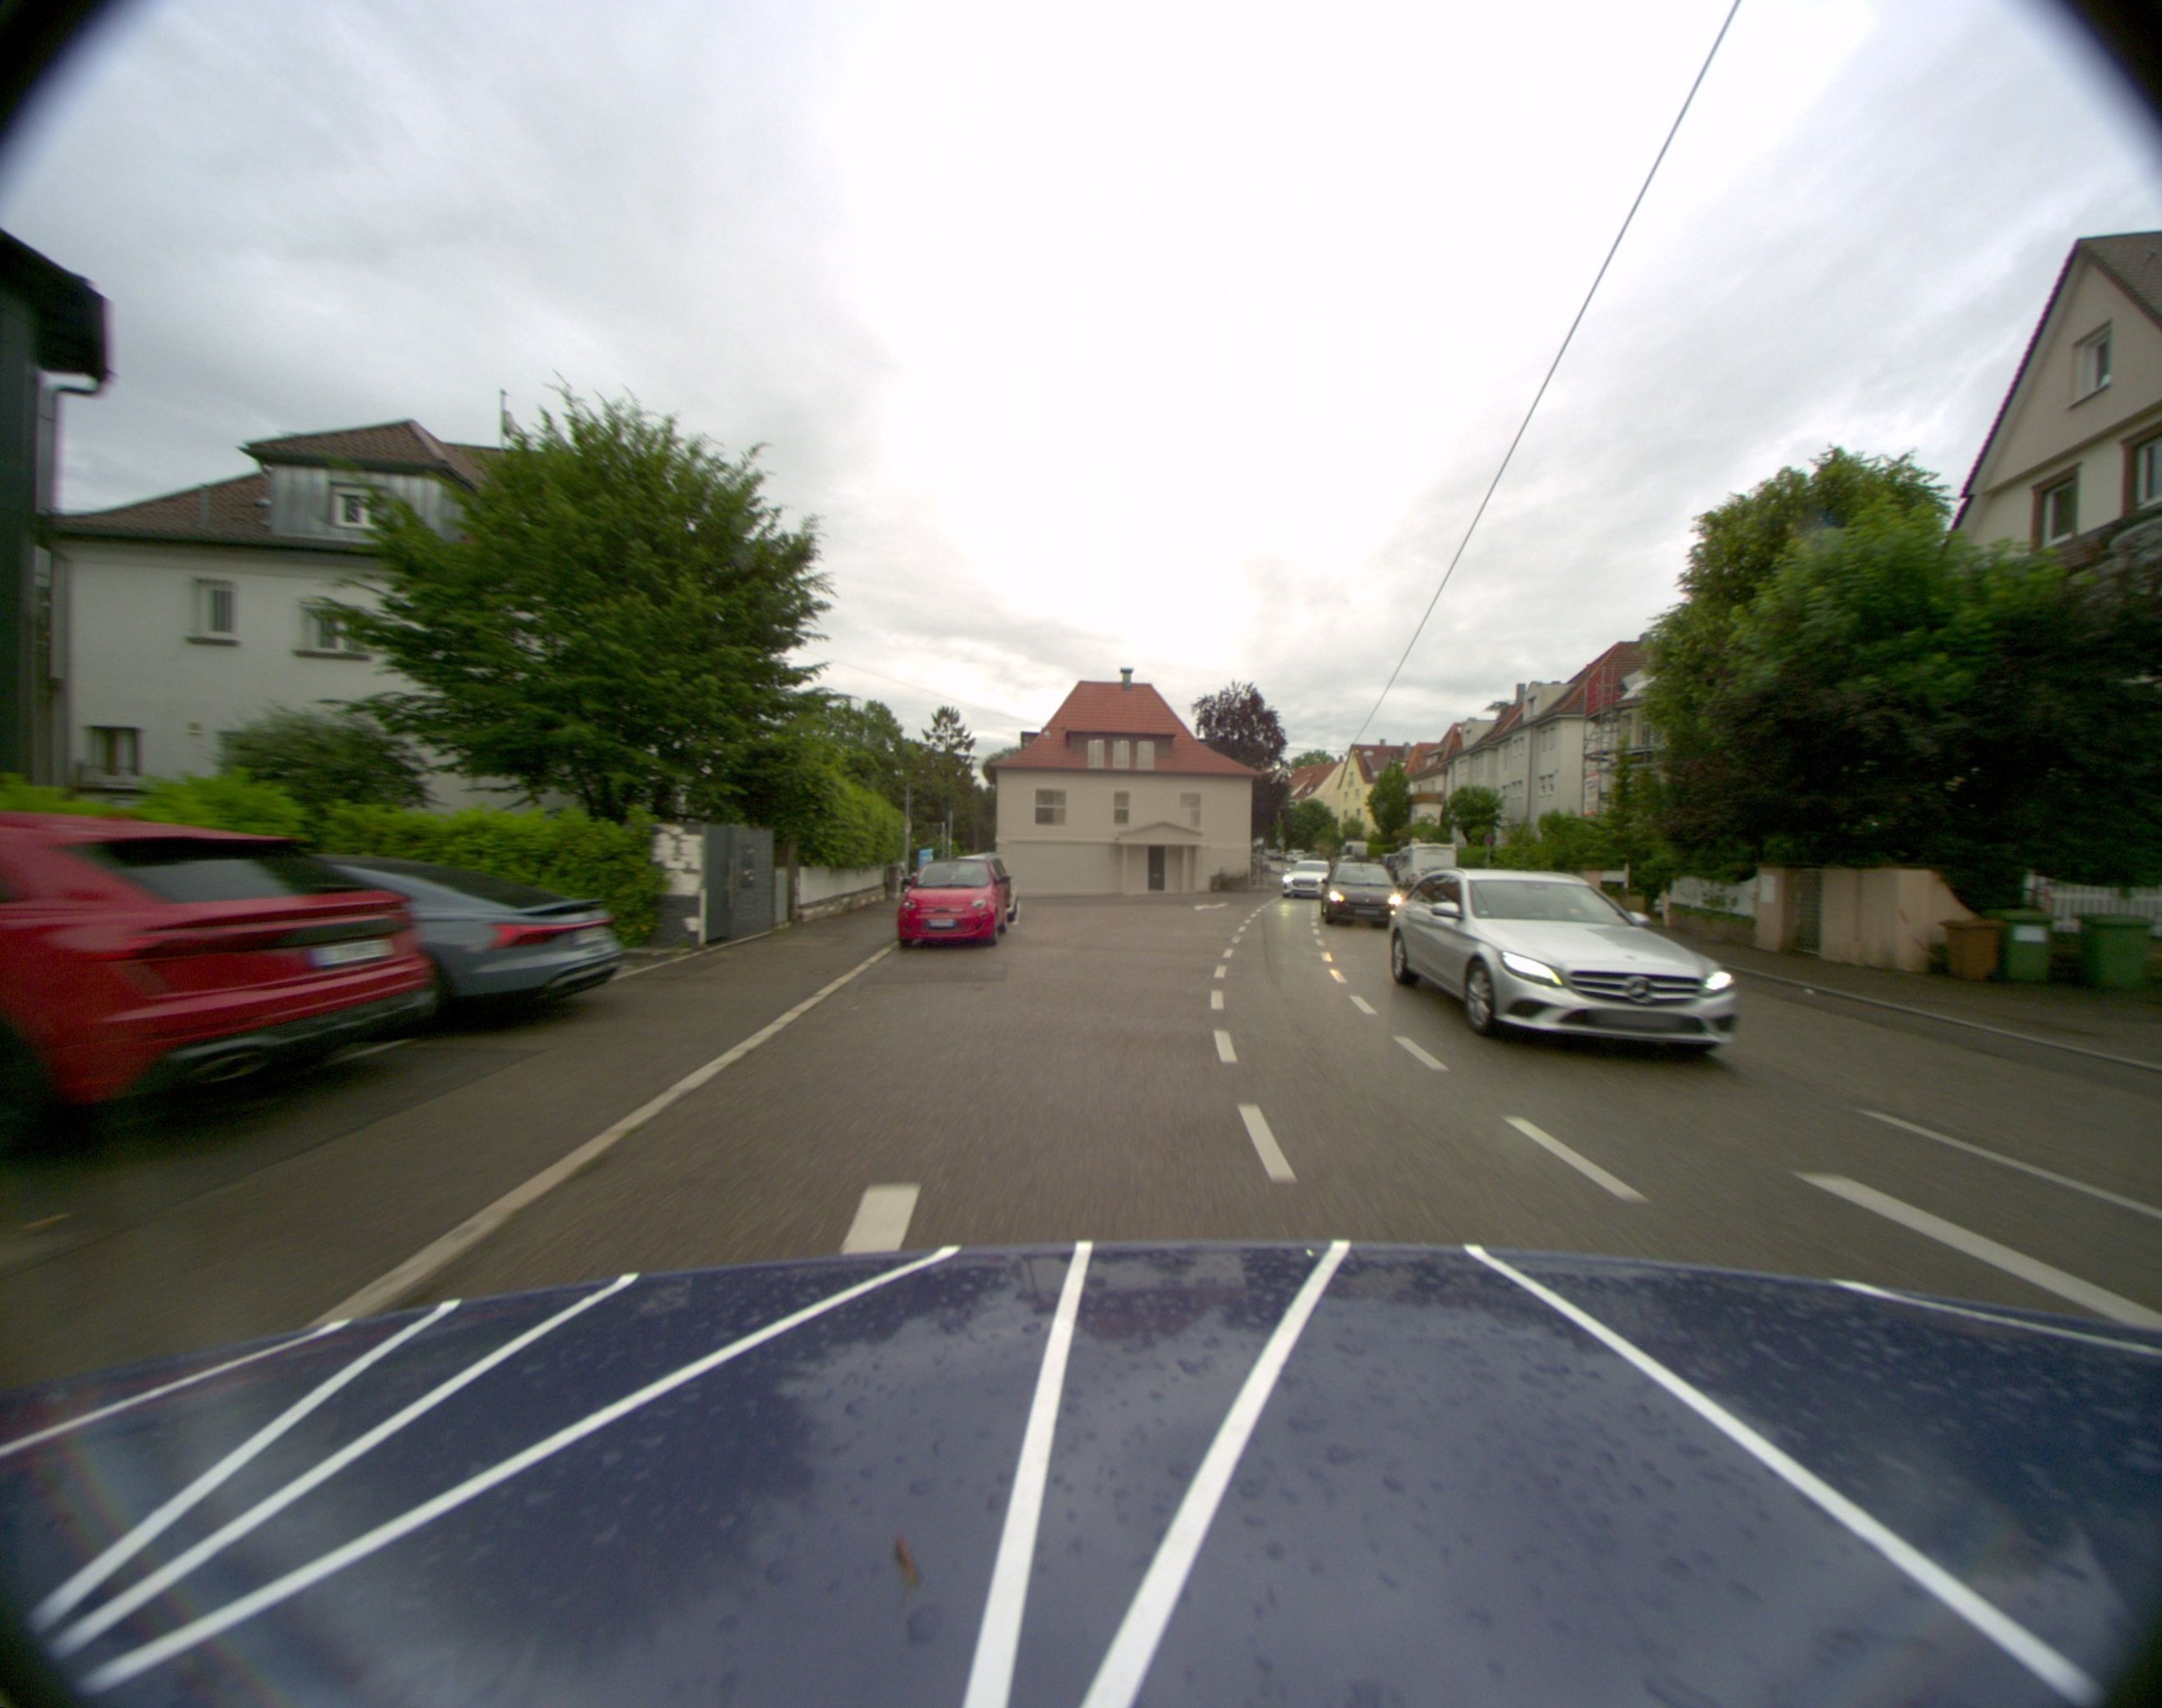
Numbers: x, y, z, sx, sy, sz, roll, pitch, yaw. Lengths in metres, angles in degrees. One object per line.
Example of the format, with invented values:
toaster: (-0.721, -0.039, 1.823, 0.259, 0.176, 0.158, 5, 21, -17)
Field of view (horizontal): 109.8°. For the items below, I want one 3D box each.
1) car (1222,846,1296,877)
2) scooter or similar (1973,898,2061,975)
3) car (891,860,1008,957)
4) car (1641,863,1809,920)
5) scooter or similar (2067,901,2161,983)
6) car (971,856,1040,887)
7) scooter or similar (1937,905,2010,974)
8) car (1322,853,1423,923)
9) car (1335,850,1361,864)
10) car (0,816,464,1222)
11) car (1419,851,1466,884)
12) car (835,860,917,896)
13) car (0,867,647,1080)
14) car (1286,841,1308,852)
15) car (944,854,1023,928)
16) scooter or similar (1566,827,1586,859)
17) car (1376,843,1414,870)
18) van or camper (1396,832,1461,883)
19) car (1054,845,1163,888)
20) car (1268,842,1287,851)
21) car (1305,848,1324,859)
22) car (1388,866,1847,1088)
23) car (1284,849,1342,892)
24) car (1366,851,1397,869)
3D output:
car: (12.250, 0.494, 52.260, 4.736, 1.799, 1.944, 4, 2, 15)
scooter or similar: (14.339, 1.239, 11.661, 0.608, 1.056, 0.764, 1, 2, 31)
car: (-2.318, 0.897, 14.177, 1.615, 1.528, 3.540, -1, 0, -1)
car: (20.053, 1.140, 23.842, 3.584, 1.531, 1.712, 3, -1, 19)
scooter or similar: (14.879, 1.243, 10.923, 0.608, 1.056, 0.764, 1, 2, 31)
car: (-3.797, 0.885, 38.303, 3.264, 1.431, 1.324, -1, -4, 4)
scooter or similar: (13.627, 1.288, 11.615, 0.543, 0.960, 0.593, 1, 2, 31)
car: (6.913, 0.731, 18.355, 1.896, 1.456, 3.685, 0, 1, 15)
car: (28.293, 0.296, 80.588, 1.679, 1.364, 3.441, -1, 1, 3)
car: (-6.202, 0.664, 4.000, 4.087, 1.740, 1.998, 2, 0, -9)
car: (18.734, 0.651, 39.519, 1.597, 1.586, 3.321, 1, 1, 15)
car: (-11.027, 1.283, 41.139, 3.999, 1.849, 1.770, -1, 1, -5)
car: (-6.540, 0.892, 6.404, 4.563, 1.408, 1.998, 2, 0, -9)
car: (29.571, -1.039, 104.215, 1.679, 1.364, 4.436, 2, 1, -1)
car: (-2.416, 0.856, 19.808, 1.749, 1.663, 4.645, -1, 0, -4)
scooter or similar: (18.645, -0.393, 28.632, 0.402, 1.181, 1.142, 0, 1, 22)
car: (23.845, 0.146, 57.897, 1.834, 1.976, 4.585, 0, 1, 12)
van or camper: (20.281, 0.133, 44.653, 2.351, 2.709, 6.122, 1, 1, 14)
car: (1.352, 0.558, 36.697, 4.912, 1.937, 1.943, 1, 2, 17)
car: (29.500, -1.150, 114.380, 1.679, 1.364, 4.436, -1, 1, -1)
car: (29.348, -0.080, 95.462, 1.678, 1.364, 3.442, -1, 1, 7)
car: (4.677, 0.892, 7.641, 1.997, 1.470, 4.490, 1, 0, 10)
car: (10.038, 0.650, 32.690, 1.792, 1.689, 3.897, 0, 1, 25)
car: (25.776, 0.514, 65.323, 1.678, 1.365, 4.513, 0, 2, 10)
